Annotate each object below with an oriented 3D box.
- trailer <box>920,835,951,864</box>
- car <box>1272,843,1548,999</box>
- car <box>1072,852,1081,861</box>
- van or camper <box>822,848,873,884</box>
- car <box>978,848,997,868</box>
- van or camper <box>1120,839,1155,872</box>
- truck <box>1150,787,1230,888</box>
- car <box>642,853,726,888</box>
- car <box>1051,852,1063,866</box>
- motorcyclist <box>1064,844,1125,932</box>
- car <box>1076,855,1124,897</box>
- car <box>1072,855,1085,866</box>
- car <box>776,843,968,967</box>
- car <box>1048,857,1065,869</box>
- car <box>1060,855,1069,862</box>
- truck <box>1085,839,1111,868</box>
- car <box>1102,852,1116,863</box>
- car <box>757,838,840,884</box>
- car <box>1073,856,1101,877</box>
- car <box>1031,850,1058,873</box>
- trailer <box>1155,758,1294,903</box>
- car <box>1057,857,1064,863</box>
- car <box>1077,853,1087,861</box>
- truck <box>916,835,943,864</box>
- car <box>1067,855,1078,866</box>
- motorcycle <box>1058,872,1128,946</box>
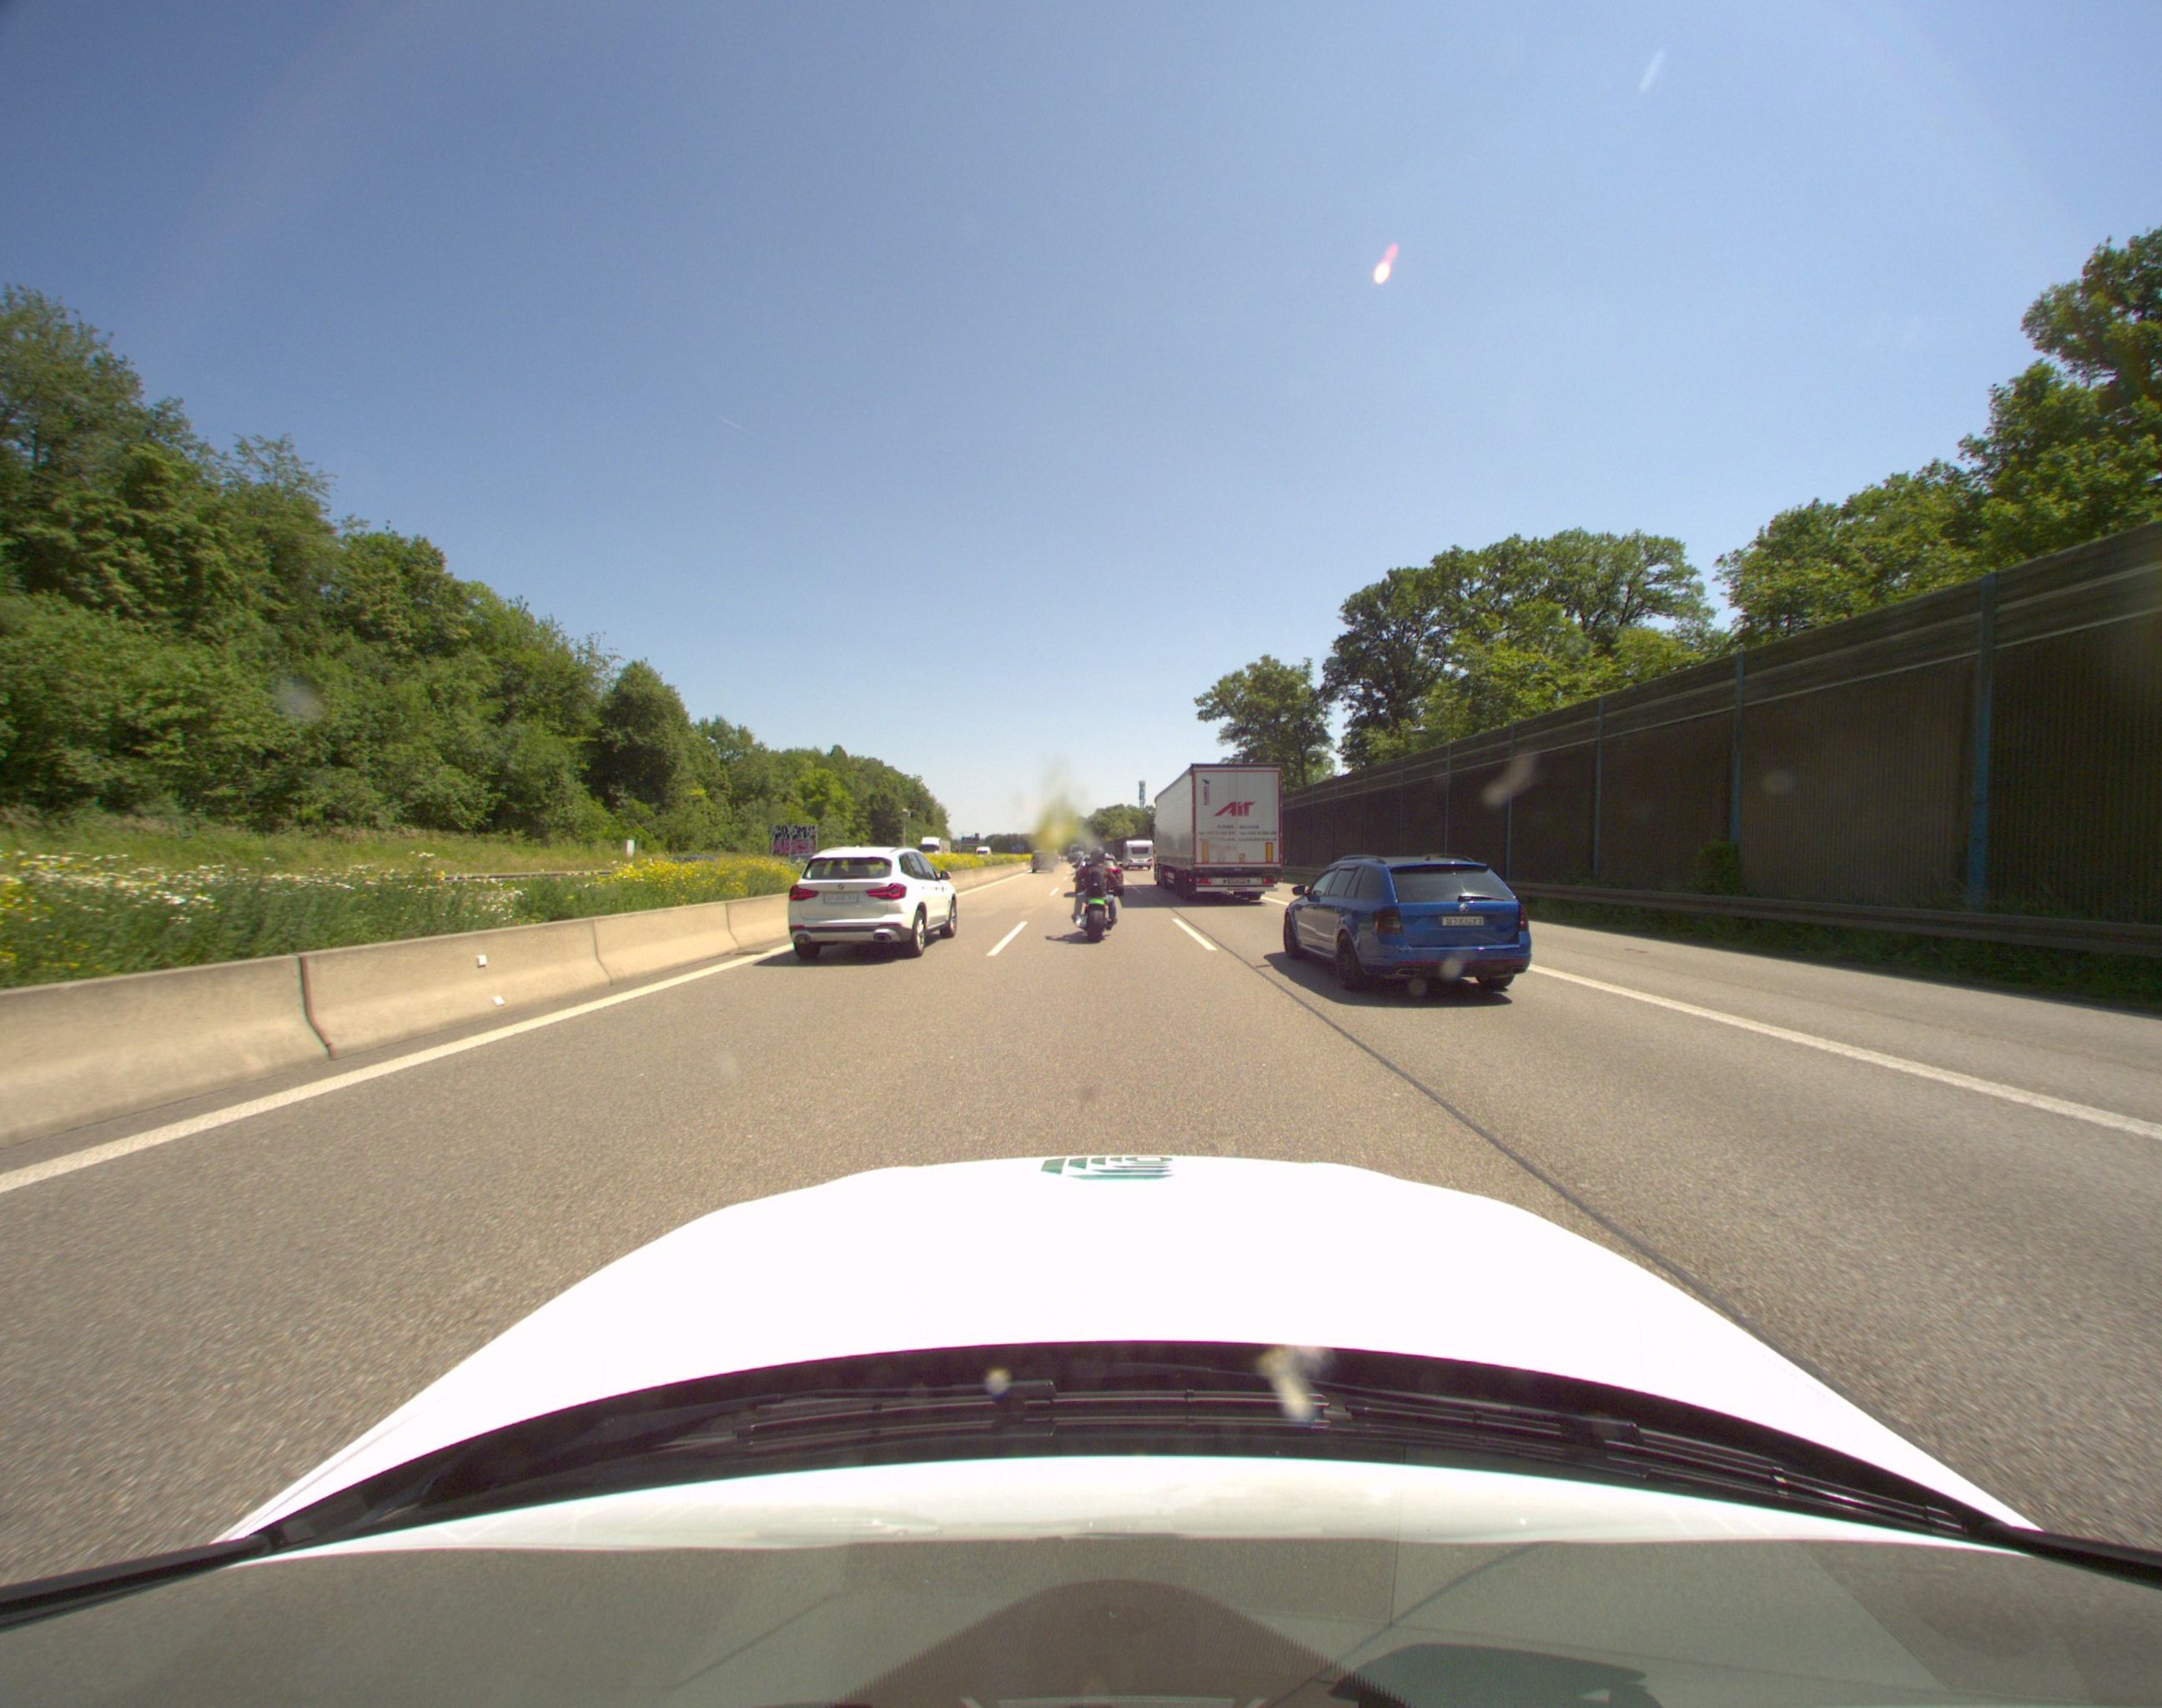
[{"bbox_3d":[-22.742,-0.590,127.862,2.919,4.232,13.051,-1,-1,-2],"label":"trailer"},{"bbox_3d":[3.696,0.693,10.098,1.645,1.483,4.481,-1,-1,1],"label":"car"},{"bbox_3d":[-1.033,0.615,199.650,2.102,1.876,3.996,-1,-1,-2],"label":"car"},{"bbox_3d":[-13.718,0.675,48.071,1.686,2.012,4.214,-1,0,1],"label":"van or camper"},{"bbox_3d":[-14.544,0.629,126.965,2.062,2.896,7.461,-1,0,0],"label":"car"},{"bbox_3d":[4.969,0.215,72.878,2.676,2.813,6.802,-1,-1,0],"label":"van or camper"},{"bbox_3d":[4.787,-0.672,36.899,2.875,4.146,5.986,-1,0,1],"label":"truck"},{"bbox_3d":[-17.833,0.757,36.812,1.769,1.491,4.000,-1,-1,1],"label":"car"},{"bbox_3d":[-3.765,0.793,125.856,1.787,2.014,3.639,-1,-1,-2],"label":"car"},{"bbox_3d":[0.277,0.592,14.644,0.895,1.475,1.875,-1,-1,7],"label":"motorcyclist"},{"bbox_3d":[0.709,0.806,30.461,1.656,1.453,3.869,-1,-1,1],"label":"car"},{"bbox_3d":[-0.357,0.983,125.668,1.986,1.640,4.001,-1,-1,1],"label":"car"},{"bbox_3d":[-3.245,0.722,13.778,1.857,1.694,4.957,-1,0,1],"label":"car"},{"bbox_3d":[-3.164,1.164,105.073,1.987,1.387,3.999,-1,-1,0],"label":"car"},{"bbox_3d":[-3.720,1.094,180.797,1.828,1.496,3.739,-1,-1,-3],"label":"car"},{"bbox_3d":[2.891,-0.040,144.024,3.795,4.960,8.937,-1,-1,-4],"label":"truck"},{"bbox_3d":[4.253,0.547,125.130,1.987,1.574,3.999,-1,-1,0],"label":"car"},{"bbox_3d":[-10.955,0.291,31.858,1.700,1.665,4.082,-1,-1,1],"label":"car"},{"bbox_3d":[0.431,0.918,59.973,1.987,1.430,3.846,-1,-1,0],"label":"car"},{"bbox_3d":[-3.011,0.646,67.921,1.892,1.874,4.412,-1,-1,1],"label":"car"},{"bbox_3d":[4.650,-0.649,29.767,2.875,4.038,13.796,-1,0,1],"label":"trailer"},{"bbox_3d":[-5.648,1.627,220.494,1.828,1.496,3.738,-1,-1,-3],"label":"car"},{"bbox_3d":[0.300,0.681,194.394,2.103,1.876,3.995,-1,-1,-3],"label":"car"},{"bbox_3d":[-22.520,-0.588,121.181,2.956,4.107,6.083,-1,-1,-2],"label":"truck"},{"bbox_3d":[-1.582,1.320,156.591,1.907,2.014,3.686,-1,-1,-3],"label":"car"},{"bbox_3d":[0.272,0.922,14.726,0.959,1.148,2.817,0,0,7],"label":"motorcycle"}]
